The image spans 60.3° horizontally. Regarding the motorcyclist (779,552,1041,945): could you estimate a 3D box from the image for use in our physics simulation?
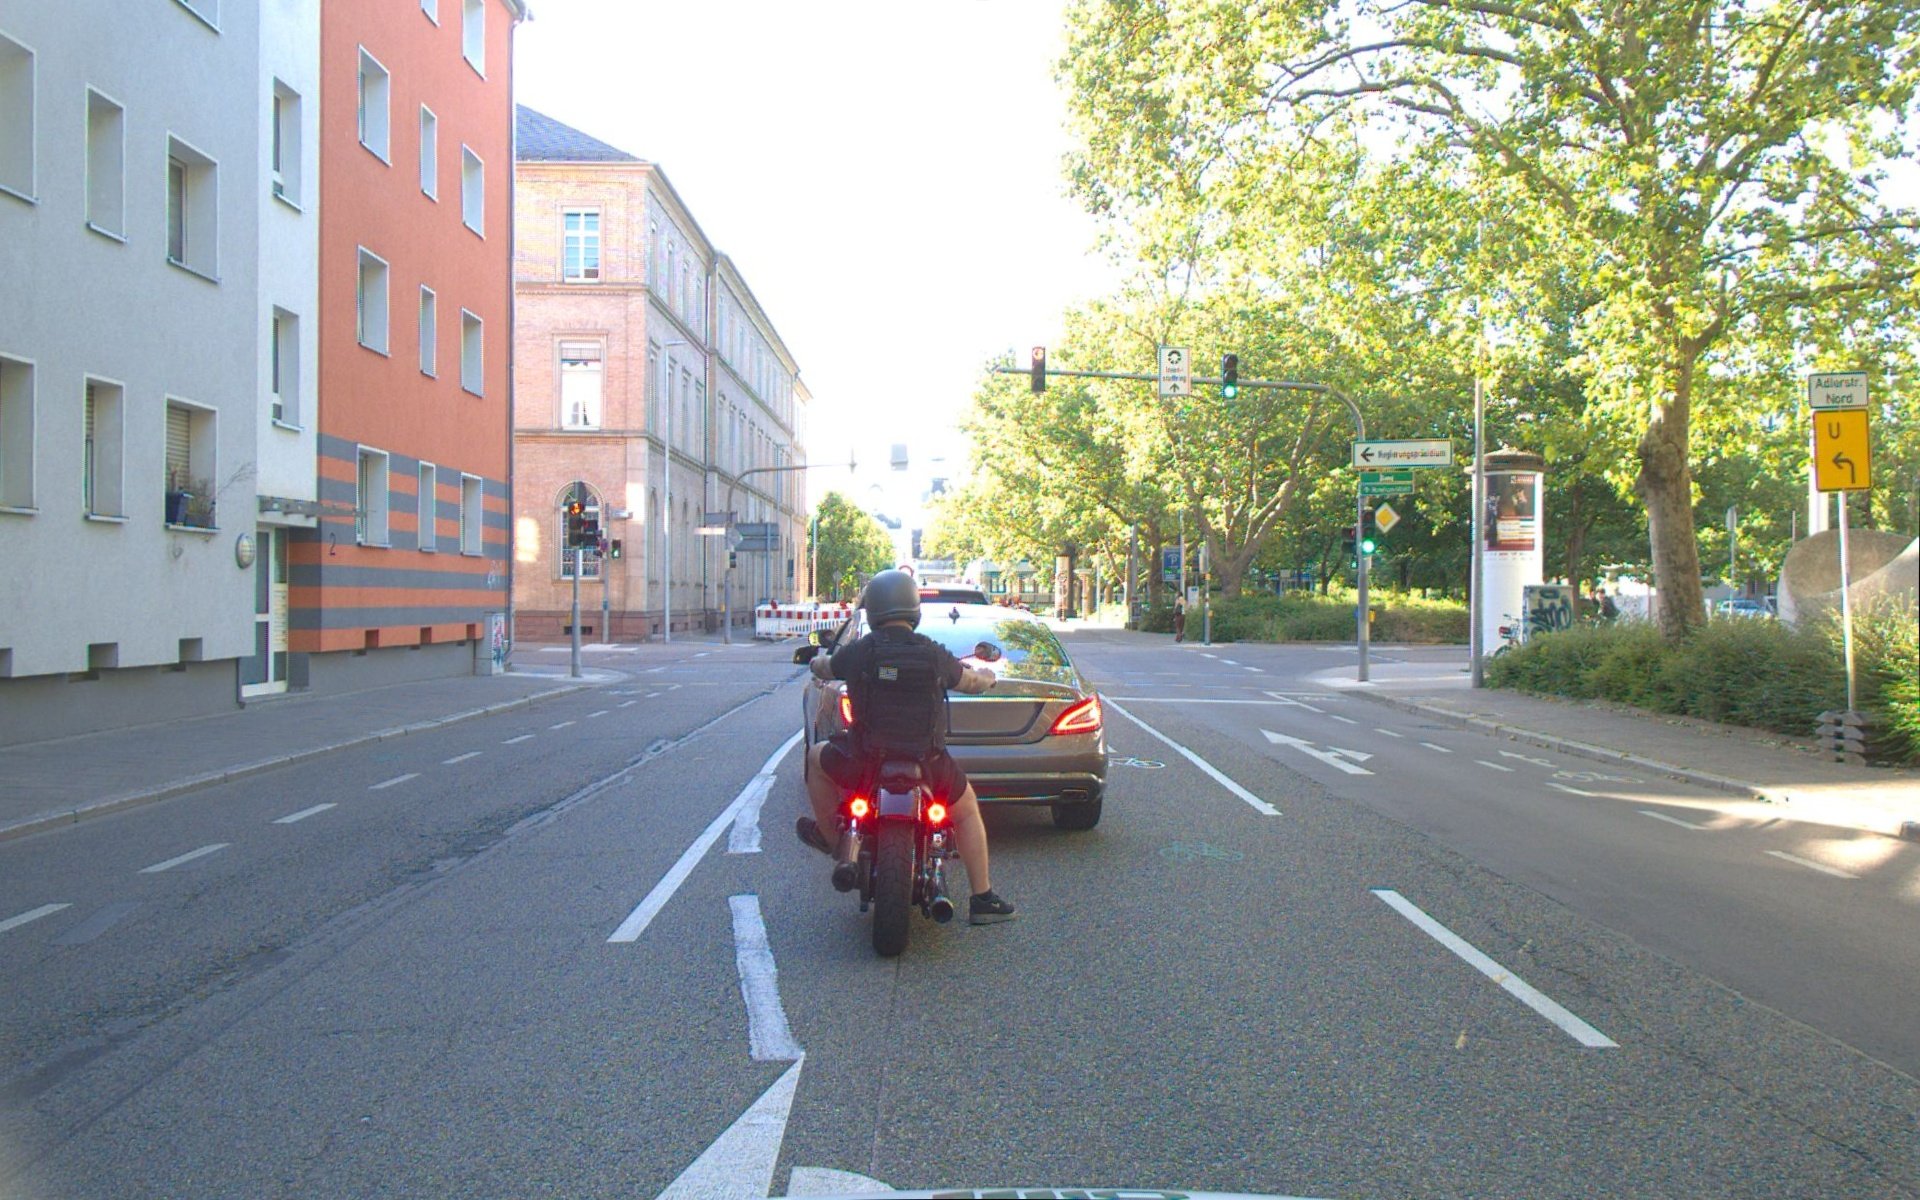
[{"bbox_3d":[-0.217,0.621,7.525,1.090,1.641,1.202,0,0,-1],"label":"motorcyclist"}]

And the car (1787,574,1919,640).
[{"bbox_3d":[25.756,0.187,46.603,3.912,1.815,2.001,0,0,4],"label":"car"}]

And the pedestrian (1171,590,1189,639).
[{"bbox_3d":[7.586,0.494,57.036,0.548,1.707,0.564,0,0,-1],"label":"pedestrian"}]

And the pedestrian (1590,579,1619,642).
[{"bbox_3d":[18.875,0.311,48.421,0.607,1.815,0.630,0,0,1],"label":"pedestrian"}]

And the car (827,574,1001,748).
[{"bbox_3d":[-0.503,0.580,17.689,1.647,1.653,3.839,0,0,-2],"label":"car"}]

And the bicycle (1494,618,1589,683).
[{"bbox_3d":[9.696,0.833,27.601,1.387,1.055,0.538,0,0,-5],"label":"bicycle"}]

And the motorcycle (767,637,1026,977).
[{"bbox_3d":[-0.260,0.824,7.673,0.987,1.225,2.664,0,0,-1],"label":"motorcycle"}]

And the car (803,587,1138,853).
[{"bbox_3d":[-0.133,0.679,11.624,1.787,1.502,4.346,0,0,-7],"label":"car"}]
